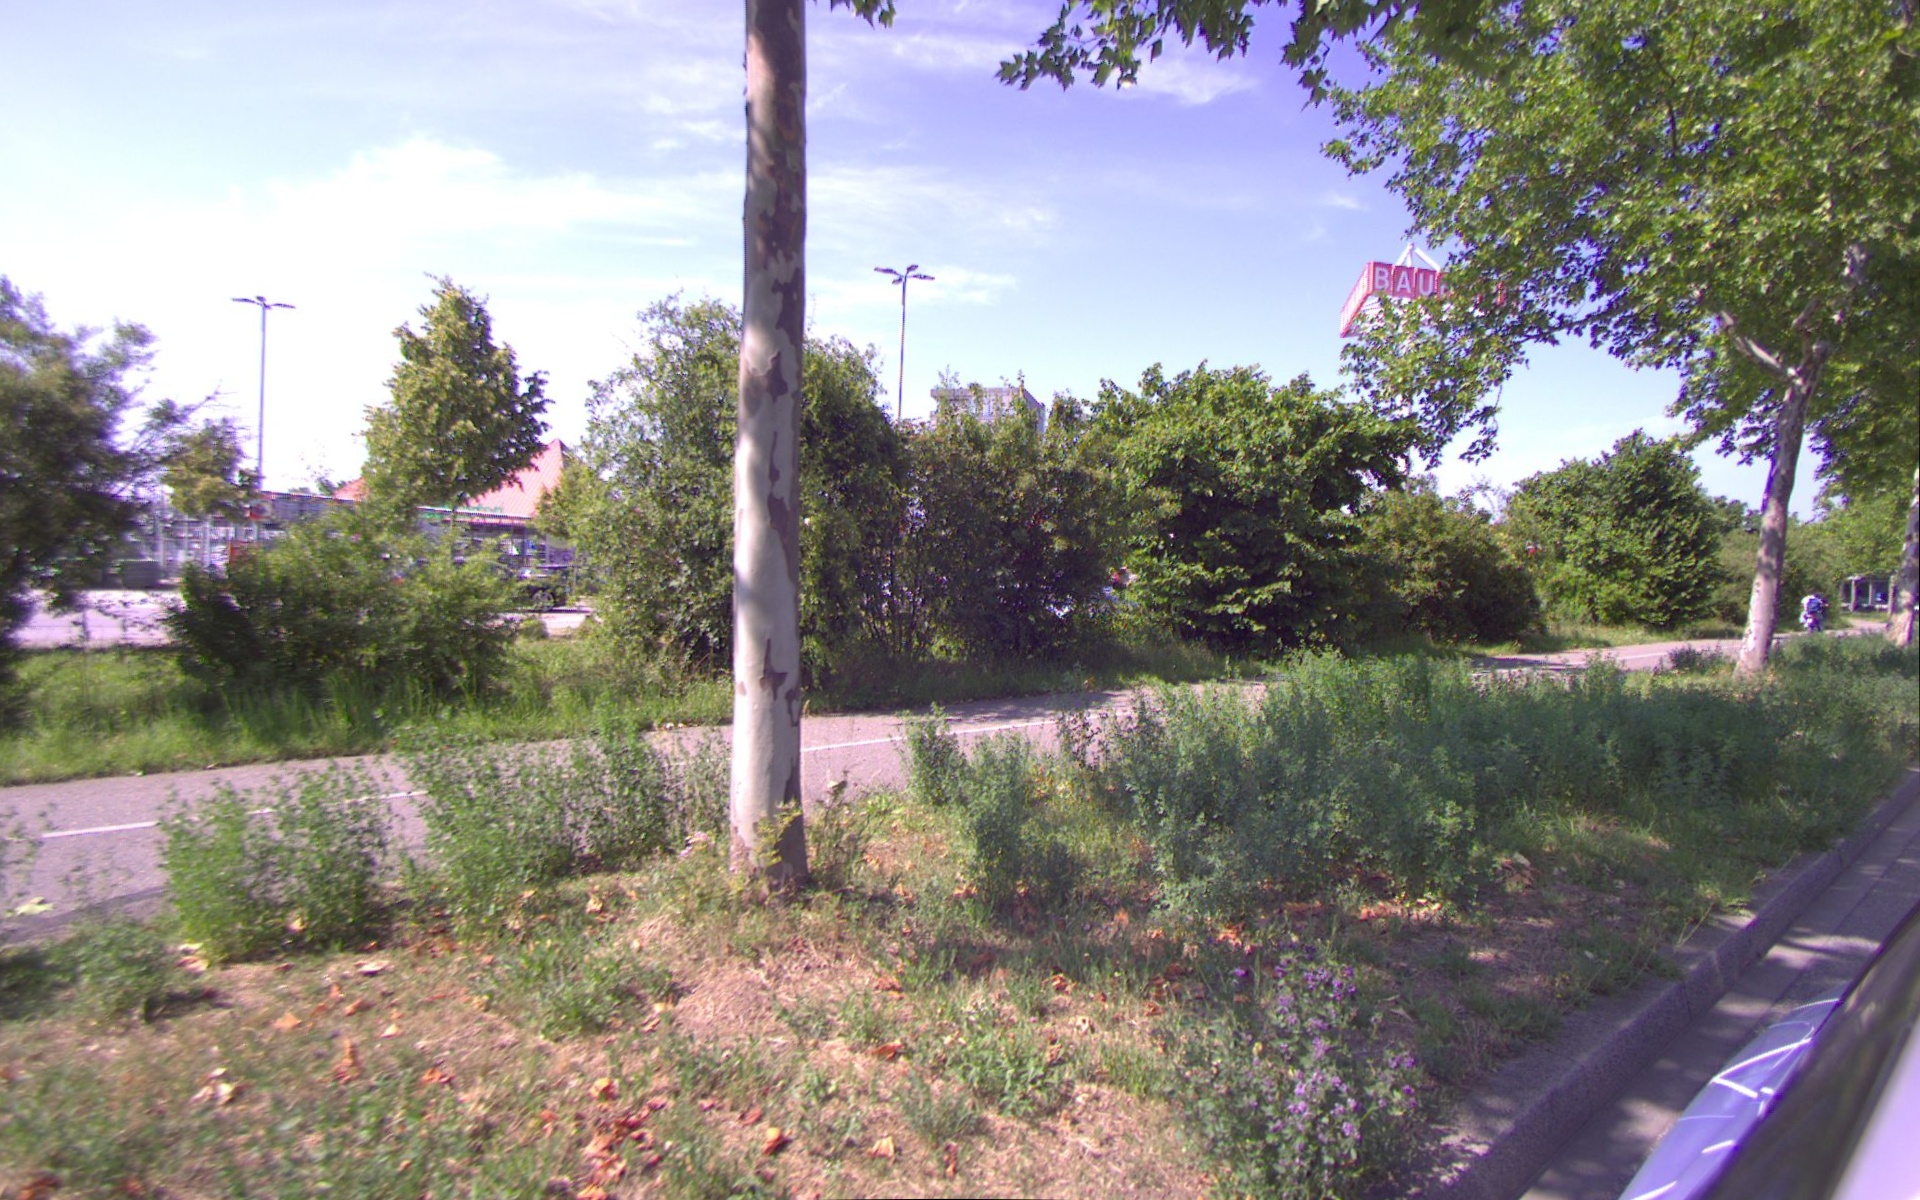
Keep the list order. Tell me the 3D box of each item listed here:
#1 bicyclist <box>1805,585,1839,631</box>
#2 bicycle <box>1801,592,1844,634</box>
[{"bbox_3d":[28.263,0.248,33.181,0.992,1.495,0.705,0,1,-40],"label":"bicyclist"},{"bbox_3d":[28.271,0.398,33.165,2.058,1.315,0.724,-1,1,-40],"label":"bicycle"}]
